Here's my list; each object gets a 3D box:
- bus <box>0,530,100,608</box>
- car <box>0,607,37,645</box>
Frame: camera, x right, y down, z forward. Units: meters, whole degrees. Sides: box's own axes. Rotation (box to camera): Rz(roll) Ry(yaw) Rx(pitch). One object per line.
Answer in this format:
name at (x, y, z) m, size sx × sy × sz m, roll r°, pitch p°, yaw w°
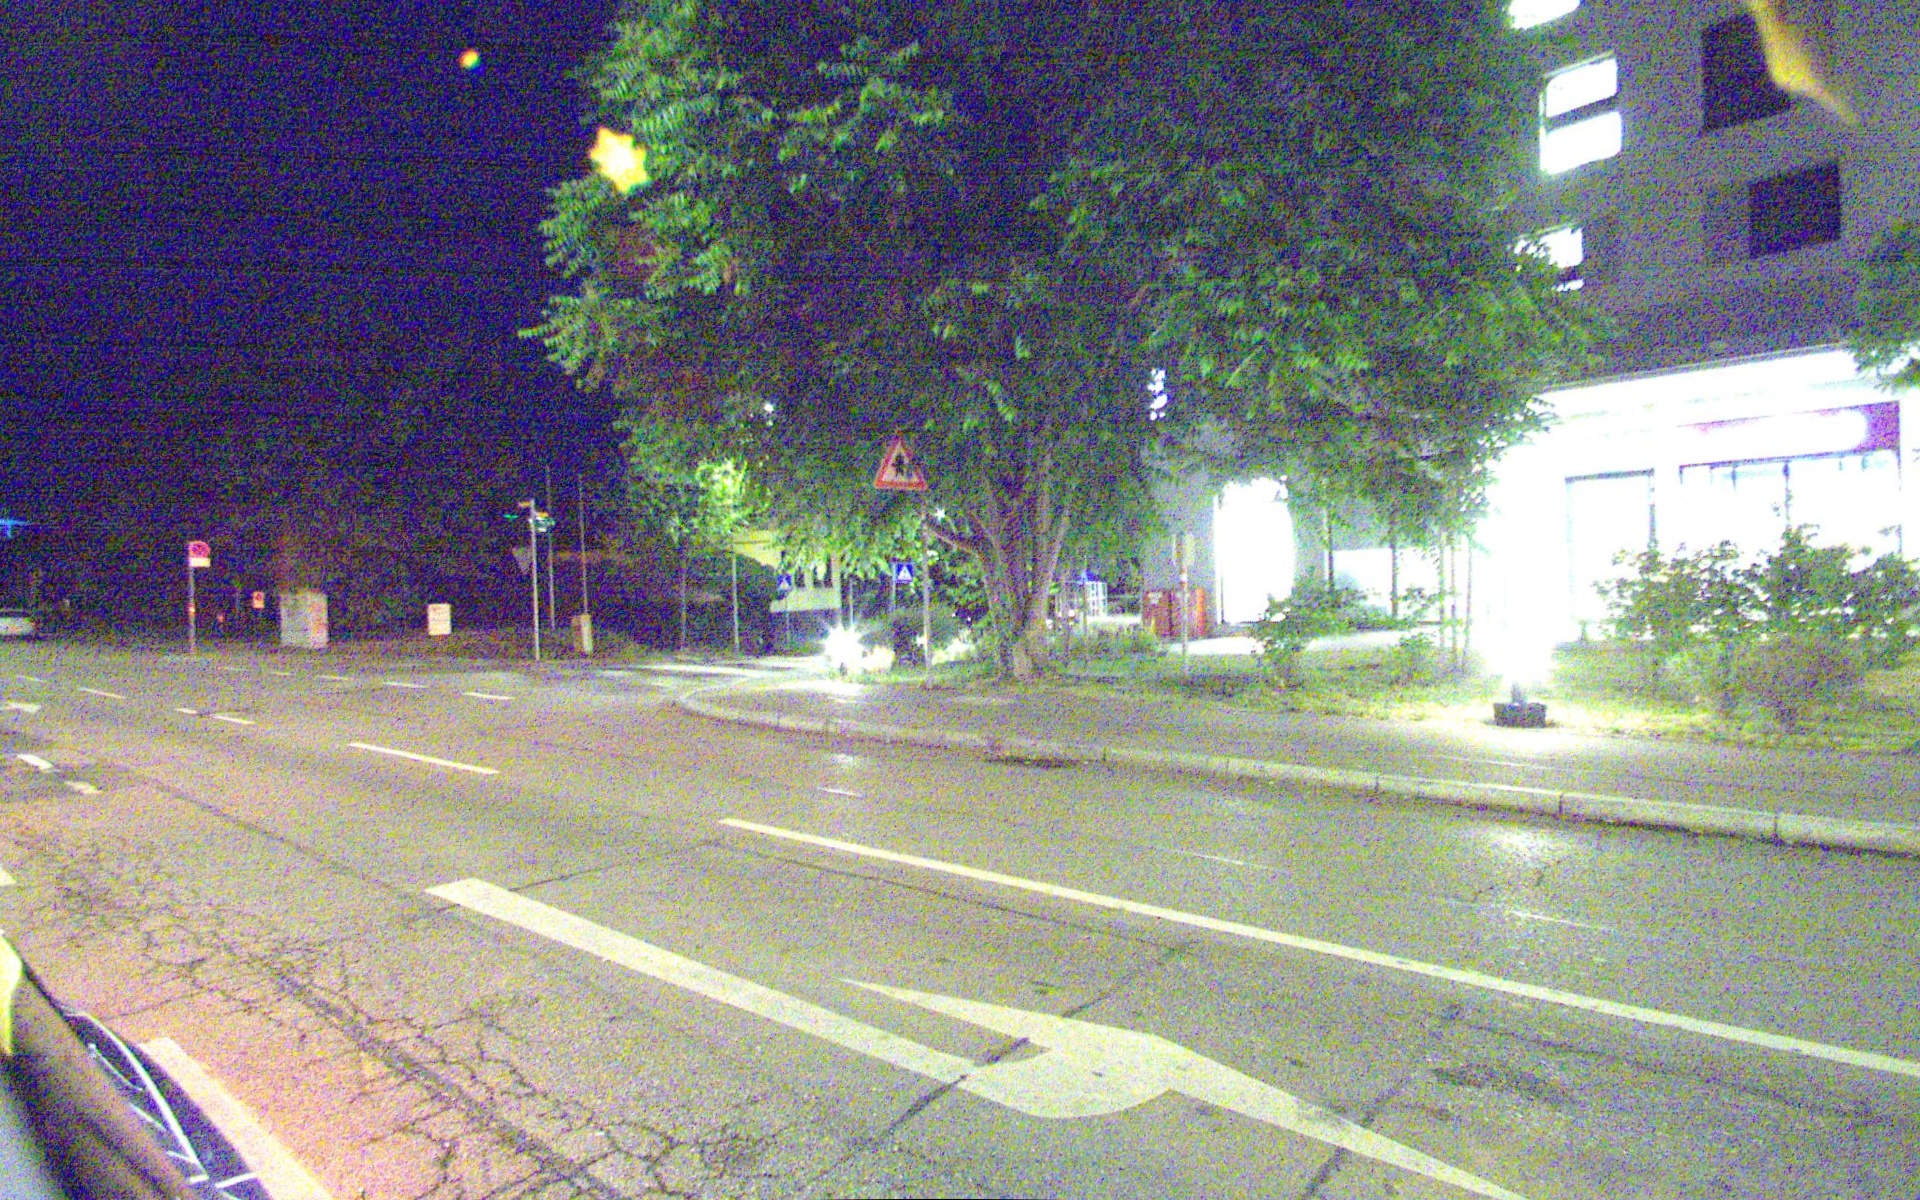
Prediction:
bus at (-88.733, -2.742, 98.127) m, size 14.776 × 6.990 × 6.056 m, roll -1°, pitch 0°, yaw 41°
car at (-43.220, 1.156, 45.701) m, size 3.997 × 1.604 × 1.783 m, roll -1°, pitch 0°, yaw 40°
